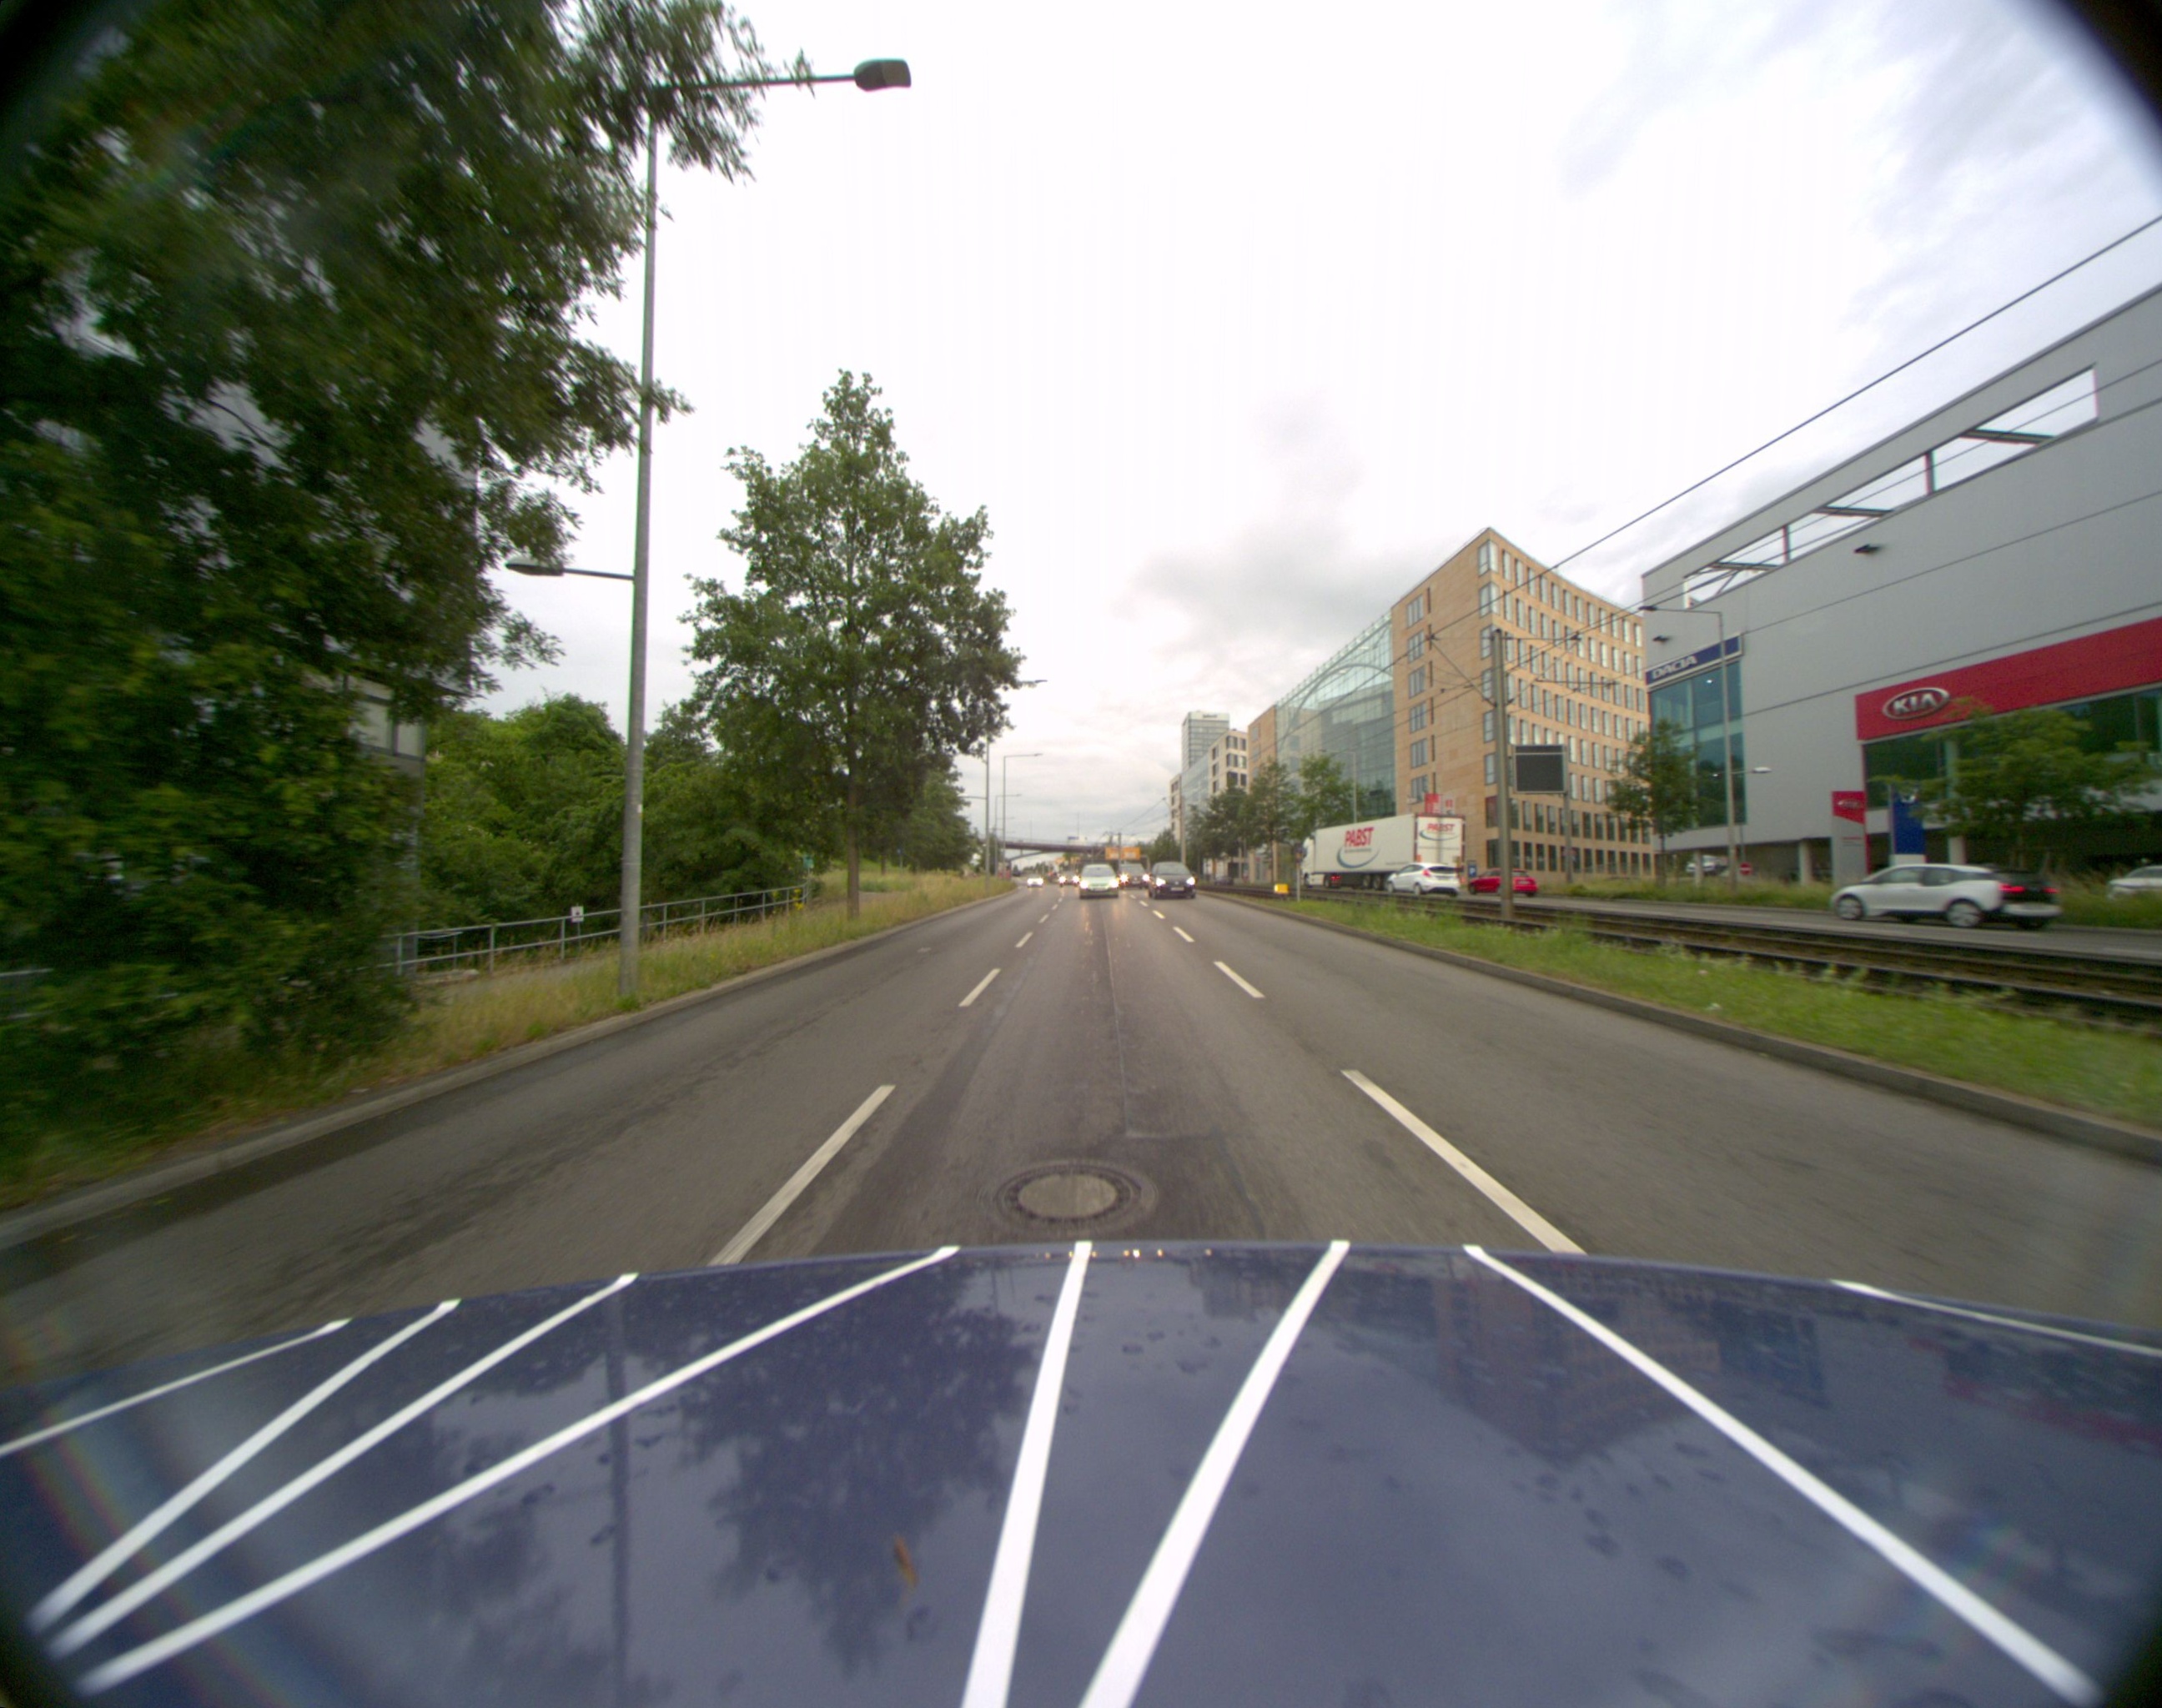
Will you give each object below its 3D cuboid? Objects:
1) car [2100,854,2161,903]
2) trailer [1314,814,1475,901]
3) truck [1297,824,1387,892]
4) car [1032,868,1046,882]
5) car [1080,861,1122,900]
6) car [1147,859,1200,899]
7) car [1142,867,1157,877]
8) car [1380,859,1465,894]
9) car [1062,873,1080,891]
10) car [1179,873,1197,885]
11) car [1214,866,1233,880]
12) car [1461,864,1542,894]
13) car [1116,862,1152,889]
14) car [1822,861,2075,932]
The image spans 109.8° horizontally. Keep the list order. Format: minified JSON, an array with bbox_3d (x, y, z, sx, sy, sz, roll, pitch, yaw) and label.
[{"bbox_3d":[31.832,0.683,22.095,3.668,1.181,1.696,-4,0,-21],"label":"car"},{"bbox_3d":[17.761,0.212,44.713,3.143,4.303,13.277,2,0,-4],"label":"trailer"},{"bbox_3d":[17.333,0.276,51.034,3.144,4.219,7.026,2,0,-4],"label":"truck"},{"bbox_3d":[-4.910,2.449,88.586,1.518,1.495,3.167,-1,0,-3],"label":"car"},{"bbox_3d":[0.877,1.124,33.751,1.704,1.523,4.371,-1,0,1],"label":"car"},{"bbox_3d":[3.789,0.995,31.552,1.704,1.523,3.826,-1,0,0],"label":"car"},{"bbox_3d":[10.681,2.734,118.544,1.688,1.428,4.098,-1,0,-3],"label":"car"},{"bbox_3d":[14.870,0.936,33.324,1.688,1.428,4.098,1,0,-3],"label":"car"},{"bbox_3d":[-1.058,2.917,79.214,1.759,1.649,4.337,-1,0,-2],"label":"car"},{"bbox_3d":[14.335,3.372,102.078,1.688,1.428,4.099,-1,0,-2],"label":"car"},{"bbox_3d":[17.725,2.378,94.643,1.630,1.608,4.000,-1,0,-1],"label":"car"},{"bbox_3d":[21.152,1.231,38.413,1.688,1.361,4.024,-1,0,-3],"label":"car"},{"bbox_3d":[3.335,1.331,48.648,1.787,1.597,4.316,-2,0,-2],"label":"car"},{"bbox_3d":[21.821,0.988,19.396,1.688,1.571,4.099,-1,0,-2],"label":"car"}]
